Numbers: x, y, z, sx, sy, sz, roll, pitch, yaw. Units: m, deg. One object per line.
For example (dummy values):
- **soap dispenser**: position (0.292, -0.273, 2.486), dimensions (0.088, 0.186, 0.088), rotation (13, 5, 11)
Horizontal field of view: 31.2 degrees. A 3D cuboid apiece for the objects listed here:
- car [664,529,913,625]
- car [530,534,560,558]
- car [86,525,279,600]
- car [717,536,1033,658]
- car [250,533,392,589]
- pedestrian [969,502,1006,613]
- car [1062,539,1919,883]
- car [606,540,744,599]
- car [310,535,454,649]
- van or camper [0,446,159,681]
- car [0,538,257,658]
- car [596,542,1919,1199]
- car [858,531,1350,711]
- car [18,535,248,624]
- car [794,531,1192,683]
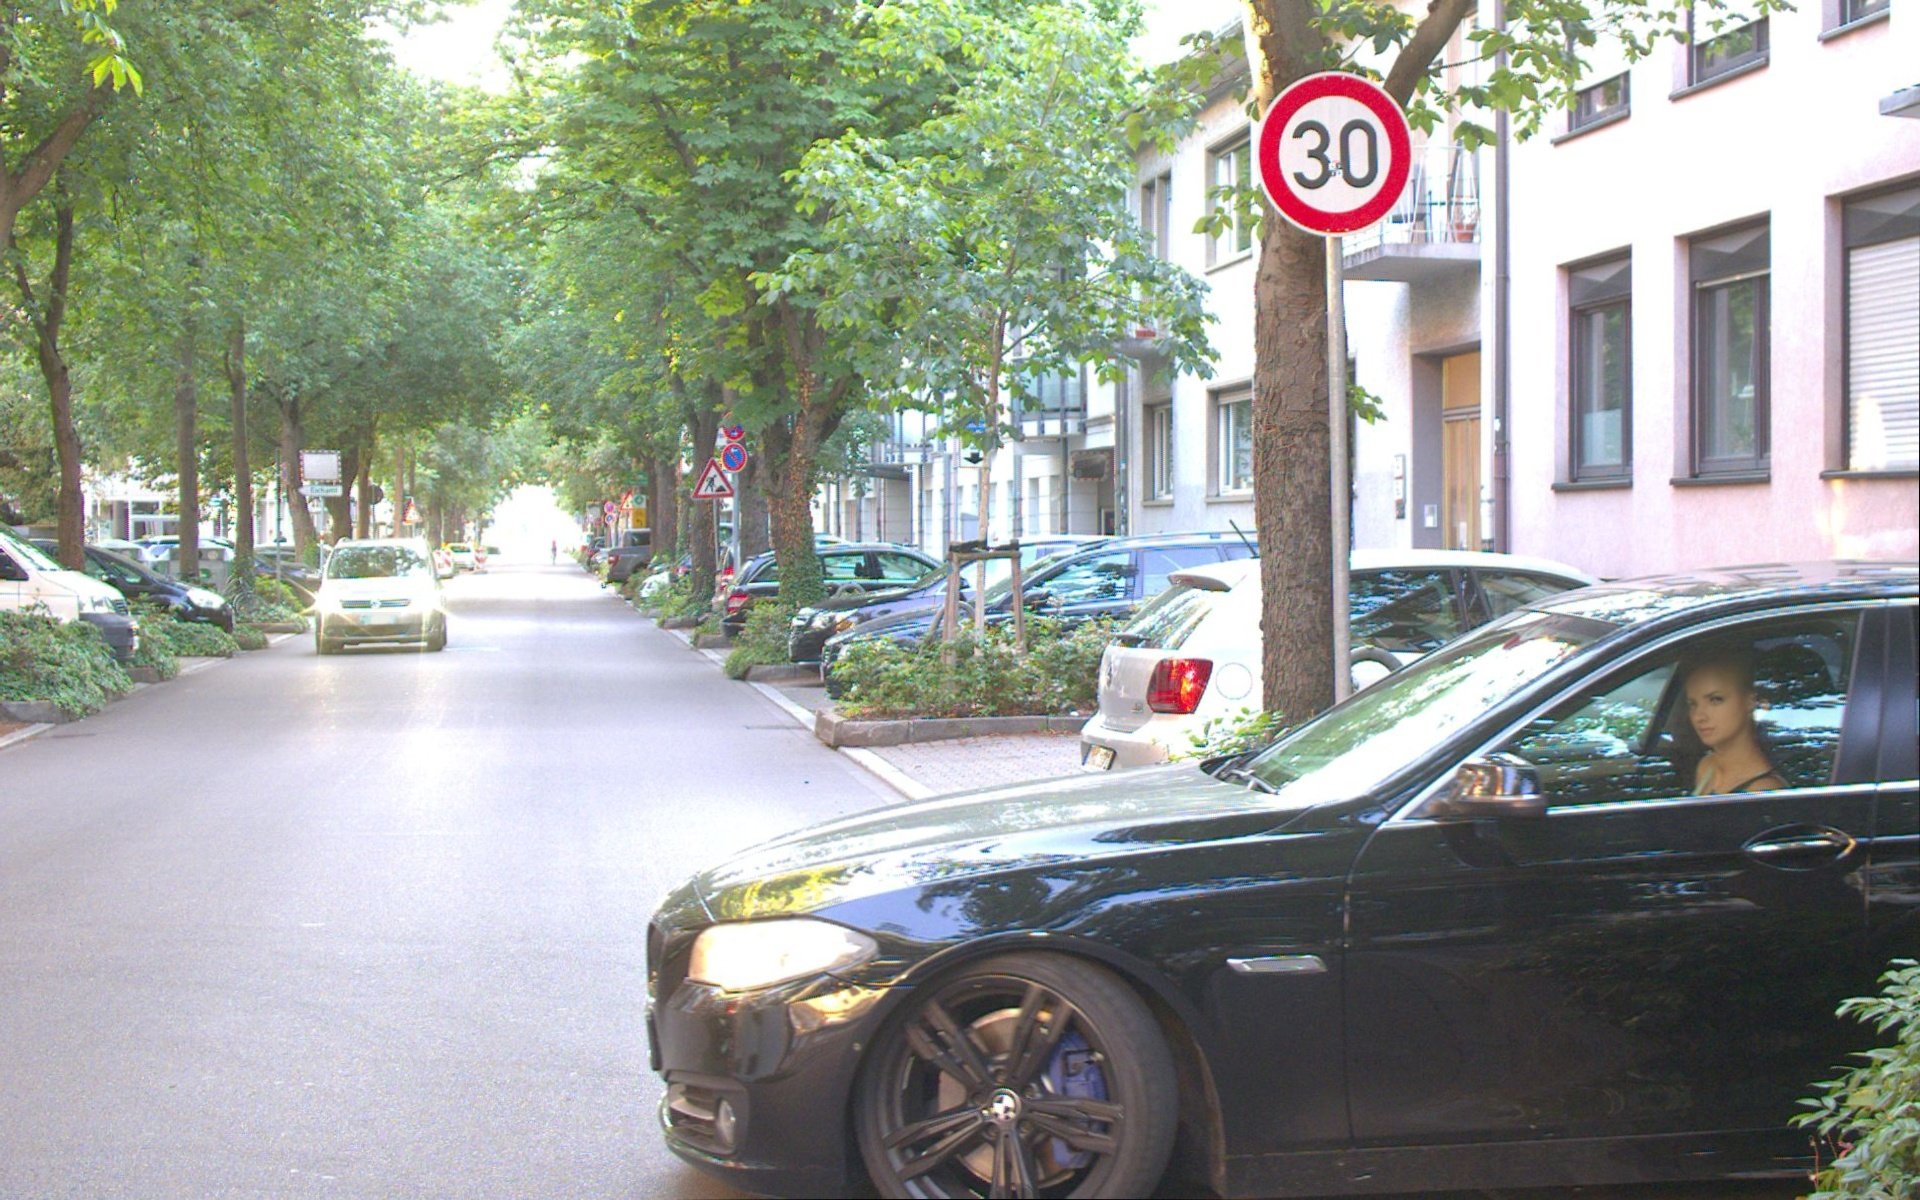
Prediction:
- **car**: position (-2.858, -0.390, 56.824), dimensions (3.967, 1.522, 1.785), rotation (-1, 1, -8)
- **car**: position (-26.269, -3.444, 217.626), dimensions (1.822, 1.525, 4.001), rotation (0, 1, -6)
- **car**: position (-17.187, -0.834, 76.116), dimensions (3.967, 1.614, 1.785), rotation (0, 1, -5)
- **car**: position (-1.141, -0.059, 44.960), dimensions (3.967, 1.522, 1.785), rotation (-1, 1, -7)
- **car**: position (-18.960, -1.163, 102.143), dimensions (3.967, 1.614, 1.785), rotation (0, 1, -5)
- **pedestrian**: position (0.504, -0.783, 62.994), dimensions (0.589, 2.007, 0.669), rotation (0, 1, -5)
- **car**: position (2.553, 0.466, 16.075), dimensions (3.908, 1.471, 1.665), rotation (-1, 1, -8)
- **car**: position (-8.367, -0.893, 100.775), dimensions (3.967, 1.678, 1.785), rotation (0, 1, -5)
- **car**: position (-8.255, -0.153, 49.368), dimensions (1.779, 1.557, 4.169), rotation (0, 1, -6)
- **van or camper**: position (-11.137, -0.392, 37.044), dimensions (4.662, 2.470, 2.000), rotation (0, 1, -7)
- **car**: position (-11.935, -0.047, 48.042), dimensions (3.967, 1.614, 1.785), rotation (0, 1, -6)
- **car**: position (1.596, 0.611, 7.959), dimensions (4.744, 1.475, 1.800), rotation (0, 1, -2)
- **car**: position (1.203, 0.152, 29.673), dimensions (3.967, 1.471, 1.785), rotation (-1, 1, -8)
- **car**: position (-15.475, -0.390, 64.507), dimensions (3.967, 1.614, 1.785), rotation (0, 1, -5)
- **car**: position (0.312, 0.052, 36.150), dimensions (3.967, 1.522, 1.785), rotation (-1, 1, -7)
